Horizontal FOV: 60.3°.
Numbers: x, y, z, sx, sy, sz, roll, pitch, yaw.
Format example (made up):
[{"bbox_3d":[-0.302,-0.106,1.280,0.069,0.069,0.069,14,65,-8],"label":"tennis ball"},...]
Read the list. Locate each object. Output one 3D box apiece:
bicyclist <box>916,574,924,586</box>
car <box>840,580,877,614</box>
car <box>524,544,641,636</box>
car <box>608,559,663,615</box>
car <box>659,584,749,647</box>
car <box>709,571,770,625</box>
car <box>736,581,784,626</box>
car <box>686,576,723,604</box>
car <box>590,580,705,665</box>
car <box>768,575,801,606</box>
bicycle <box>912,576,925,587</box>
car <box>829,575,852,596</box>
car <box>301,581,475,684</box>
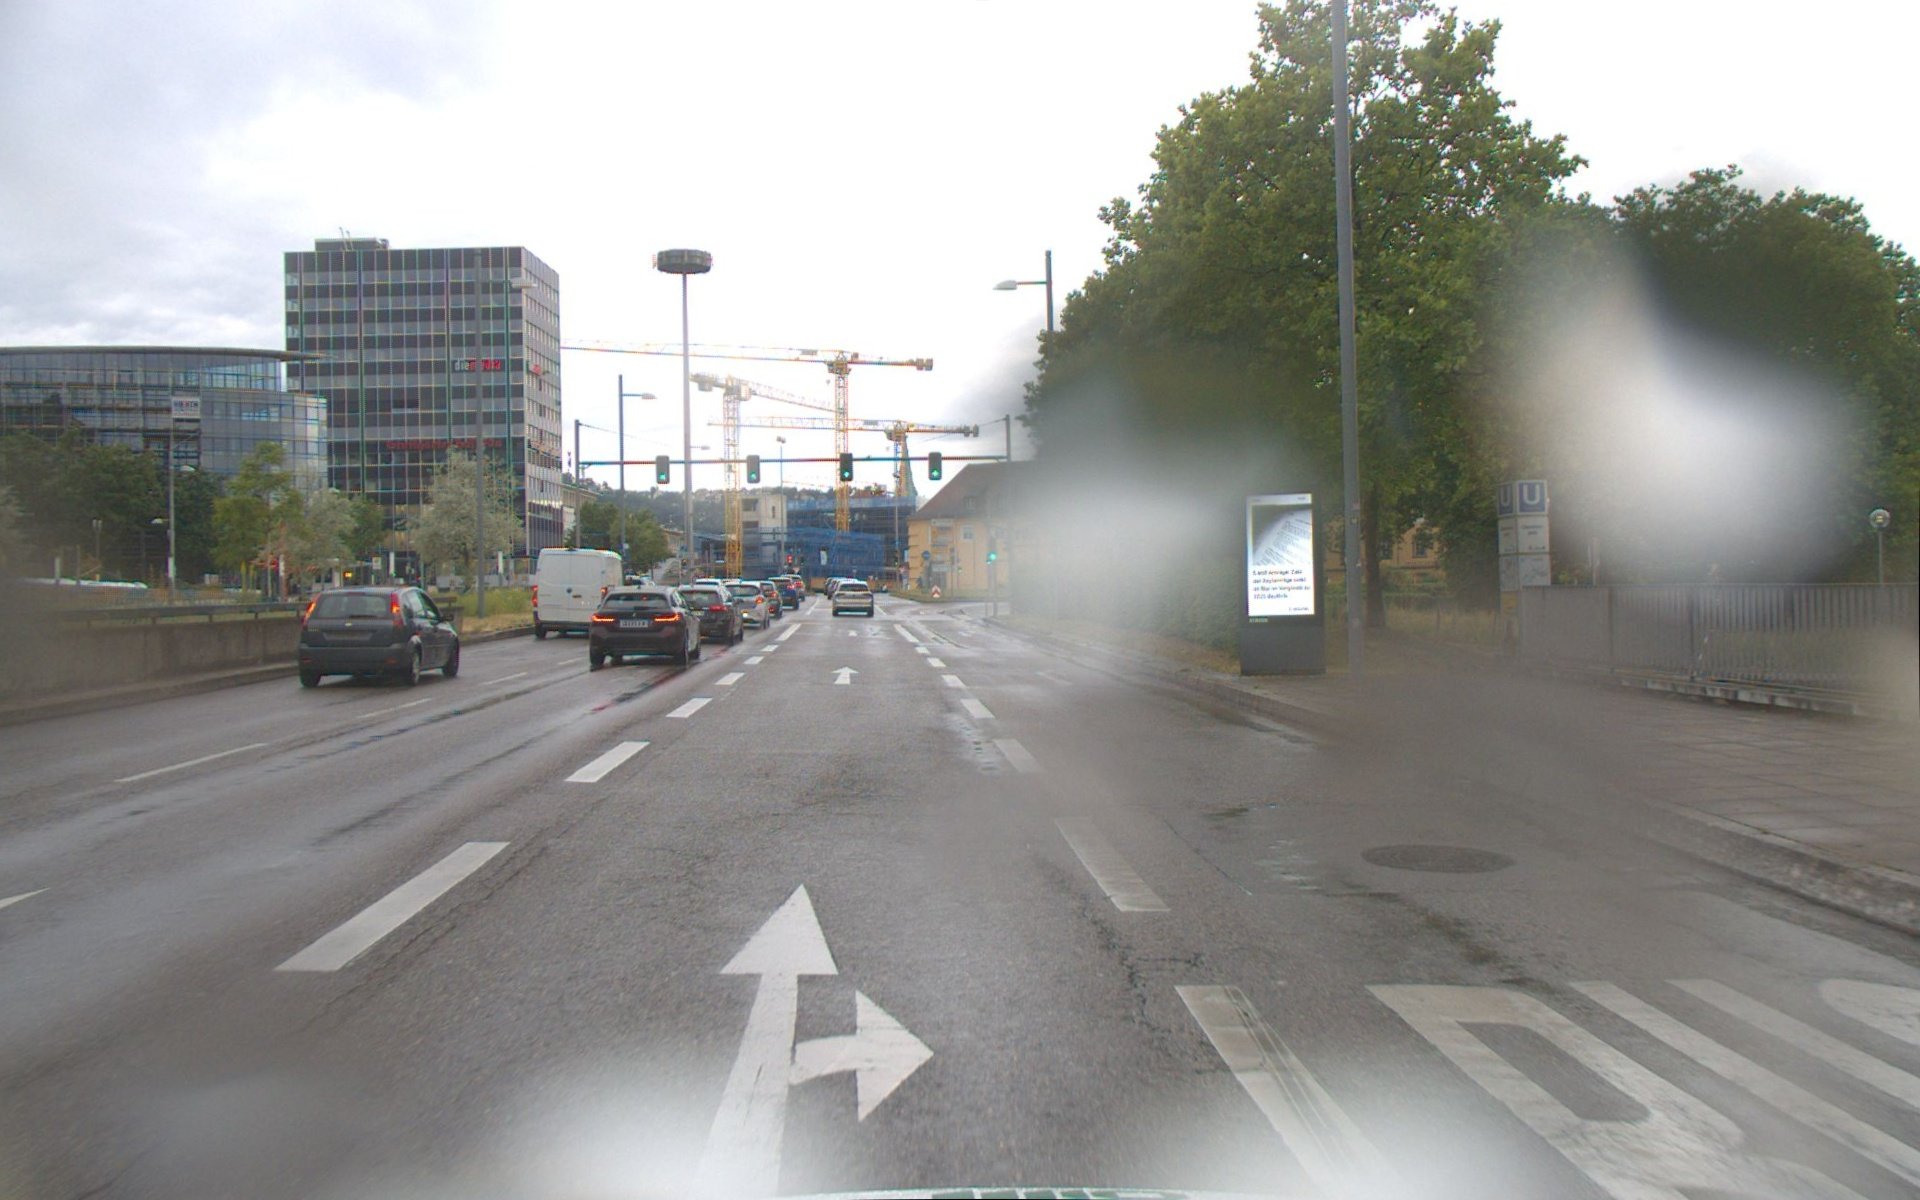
[{"bbox_3d":[-4.161,-2.074,173.075,0.693,1.298,0.631,1,-1,-19],"label":"bicyclist"},{"bbox_3d":[-4.260,-0.126,69.629,1.415,1.383,2.411,0,-1,0],"label":"car"},{"bbox_3d":[-10.206,-0.221,45.167,2.246,2.355,5.002,0,-1,-3],"label":"car"},{"bbox_3d":[-10.428,-0.383,53.279,1.436,1.736,3.137,0,-1,-5],"label":"car"},{"bbox_3d":[-6.398,0.396,41.576,1.793,1.521,3.398,0,-1,-1],"label":"car"},{"bbox_3d":[-7.140,-0.046,53.723,1.844,1.682,3.453,0,-1,-6],"label":"car"},{"bbox_3d":[-8.043,0.167,66.725,1.682,1.758,3.492,0,-1,-3],"label":"car"},{"bbox_3d":[-12.293,-0.481,79.700,1.520,1.282,2.578,0,-1,-4],"label":"car"},{"bbox_3d":[-5.915,0.374,31.701,1.719,1.497,4.219,0,1,-5],"label":"car"},{"bbox_3d":[-8.450,-0.445,79.760,1.464,1.393,3.031,0,-1,-4],"label":"car"},{"bbox_3d":[-4.327,-1.917,173.313,0.867,1.027,1.982,1,-1,-19],"label":"bicycle"},{"bbox_3d":[-6.264,-0.744,86.870,1.054,1.008,1.971,0,-2,0],"label":"car"},{"bbox_3d":[-8.611,0.481,25.212,1.512,1.440,3.898,0,-1,-4],"label":"car"}]
